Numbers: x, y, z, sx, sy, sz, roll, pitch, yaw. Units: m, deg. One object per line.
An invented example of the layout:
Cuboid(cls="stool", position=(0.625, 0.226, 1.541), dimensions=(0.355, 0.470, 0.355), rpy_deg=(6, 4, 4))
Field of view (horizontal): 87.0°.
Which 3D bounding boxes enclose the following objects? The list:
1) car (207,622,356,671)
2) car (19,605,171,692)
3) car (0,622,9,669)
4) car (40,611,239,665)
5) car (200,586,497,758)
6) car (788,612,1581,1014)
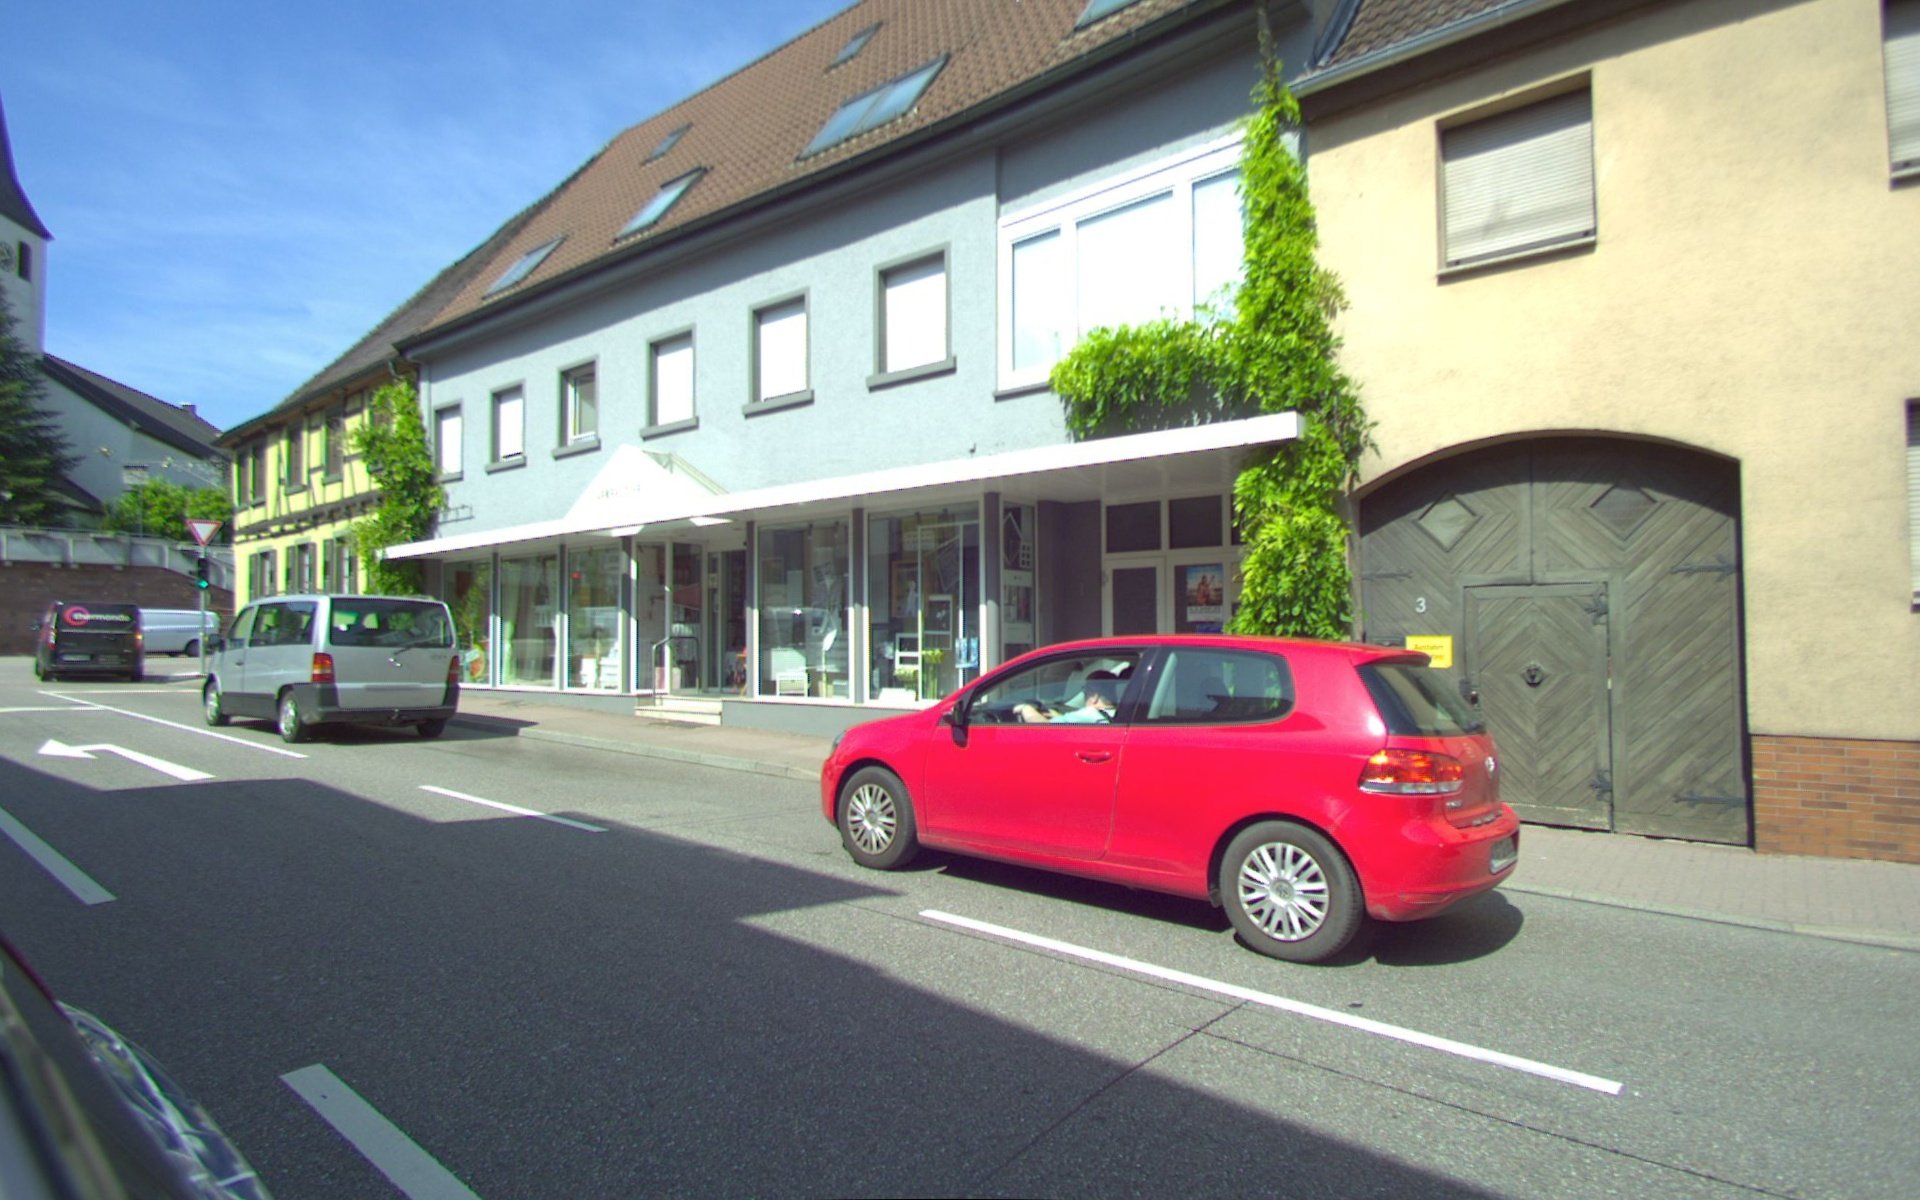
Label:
Cuboid(cls="car", position=(-25.452, 1.796, 38.167), dimensions=(1.749, 1.622, 4.396), rpy_deg=(2, -3, 21))
Cuboid(cls="car", position=(-21.827, 1.226, 25.461), dimensions=(5.164, 1.938, 2.136), rpy_deg=(-2, -6, 42))
Cuboid(cls="car", position=(-32.041, 1.398, 30.682), dimensions=(2.132, 1.527, 4.954), rpy_deg=(1, -2, -7))
Cuboid(cls="car", position=(-31.876, 1.528, 39.518), dimensions=(2.288, 1.905, 5.527), rpy_deg=(-1, -4, 33))
Cuboid(cls="car", position=(-8.198, 0.909, 13.410), dimensions=(4.547, 1.905, 1.865), rpy_deg=(-1, -5, 39))
Cuboid(cls="car", position=(1.055, 0.883, 5.787), dimensions=(4.071, 1.504, 1.741), rpy_deg=(-1, -4, 39))
